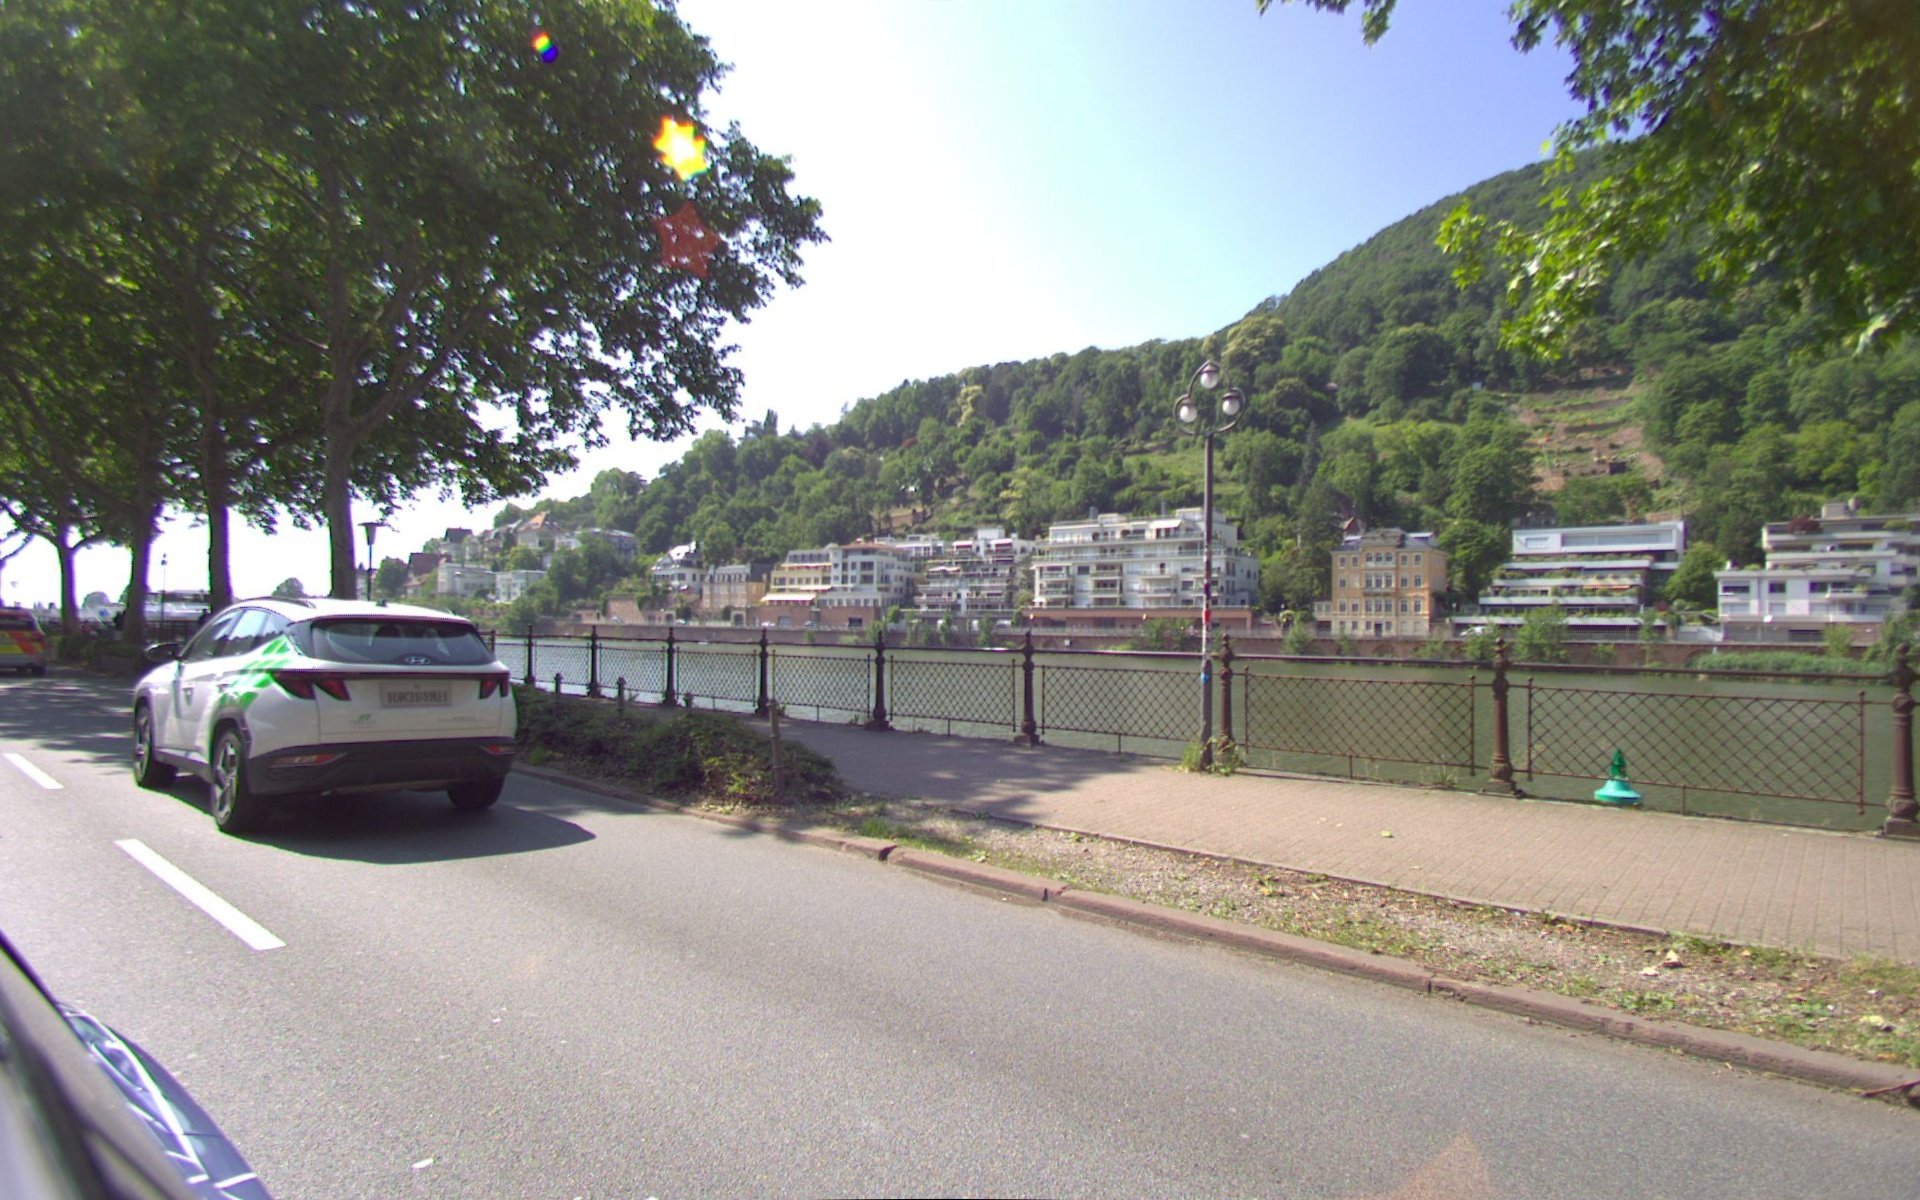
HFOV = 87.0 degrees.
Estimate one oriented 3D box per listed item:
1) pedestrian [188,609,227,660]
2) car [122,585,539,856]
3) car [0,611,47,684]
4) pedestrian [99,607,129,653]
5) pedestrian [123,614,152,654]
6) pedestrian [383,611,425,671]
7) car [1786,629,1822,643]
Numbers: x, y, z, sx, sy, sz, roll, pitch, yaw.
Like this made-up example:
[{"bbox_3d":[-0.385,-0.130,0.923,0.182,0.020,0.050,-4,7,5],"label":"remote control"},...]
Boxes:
[{"bbox_3d":[-31.126,1.407,41.883,1.032,2.029,1.038,0,0,-19],"label":"pedestrian"},{"bbox_3d":[-5.268,0.816,8.262,3.998,1.673,1.750,-1,-4,41],"label":"car"},{"bbox_3d":[-24.053,1.125,24.963,4.220,1.673,1.656,-1,-5,41],"label":"car"},{"bbox_3d":[-35.057,1.220,41.939,0.928,1.863,0.796,0,0,41],"label":"pedestrian"},{"bbox_3d":[-34.934,1.429,42.977,0.885,1.647,1.060,0,0,-44],"label":"pedestrian"},{"bbox_3d":[-16.709,1.243,30.415,0.829,1.771,0.767,-1,-4,40],"label":"pedestrian"},{"bbox_3d":[124.143,5.292,148.925,3.998,2.029,1.973,-2,-1,41],"label":"car"}]
